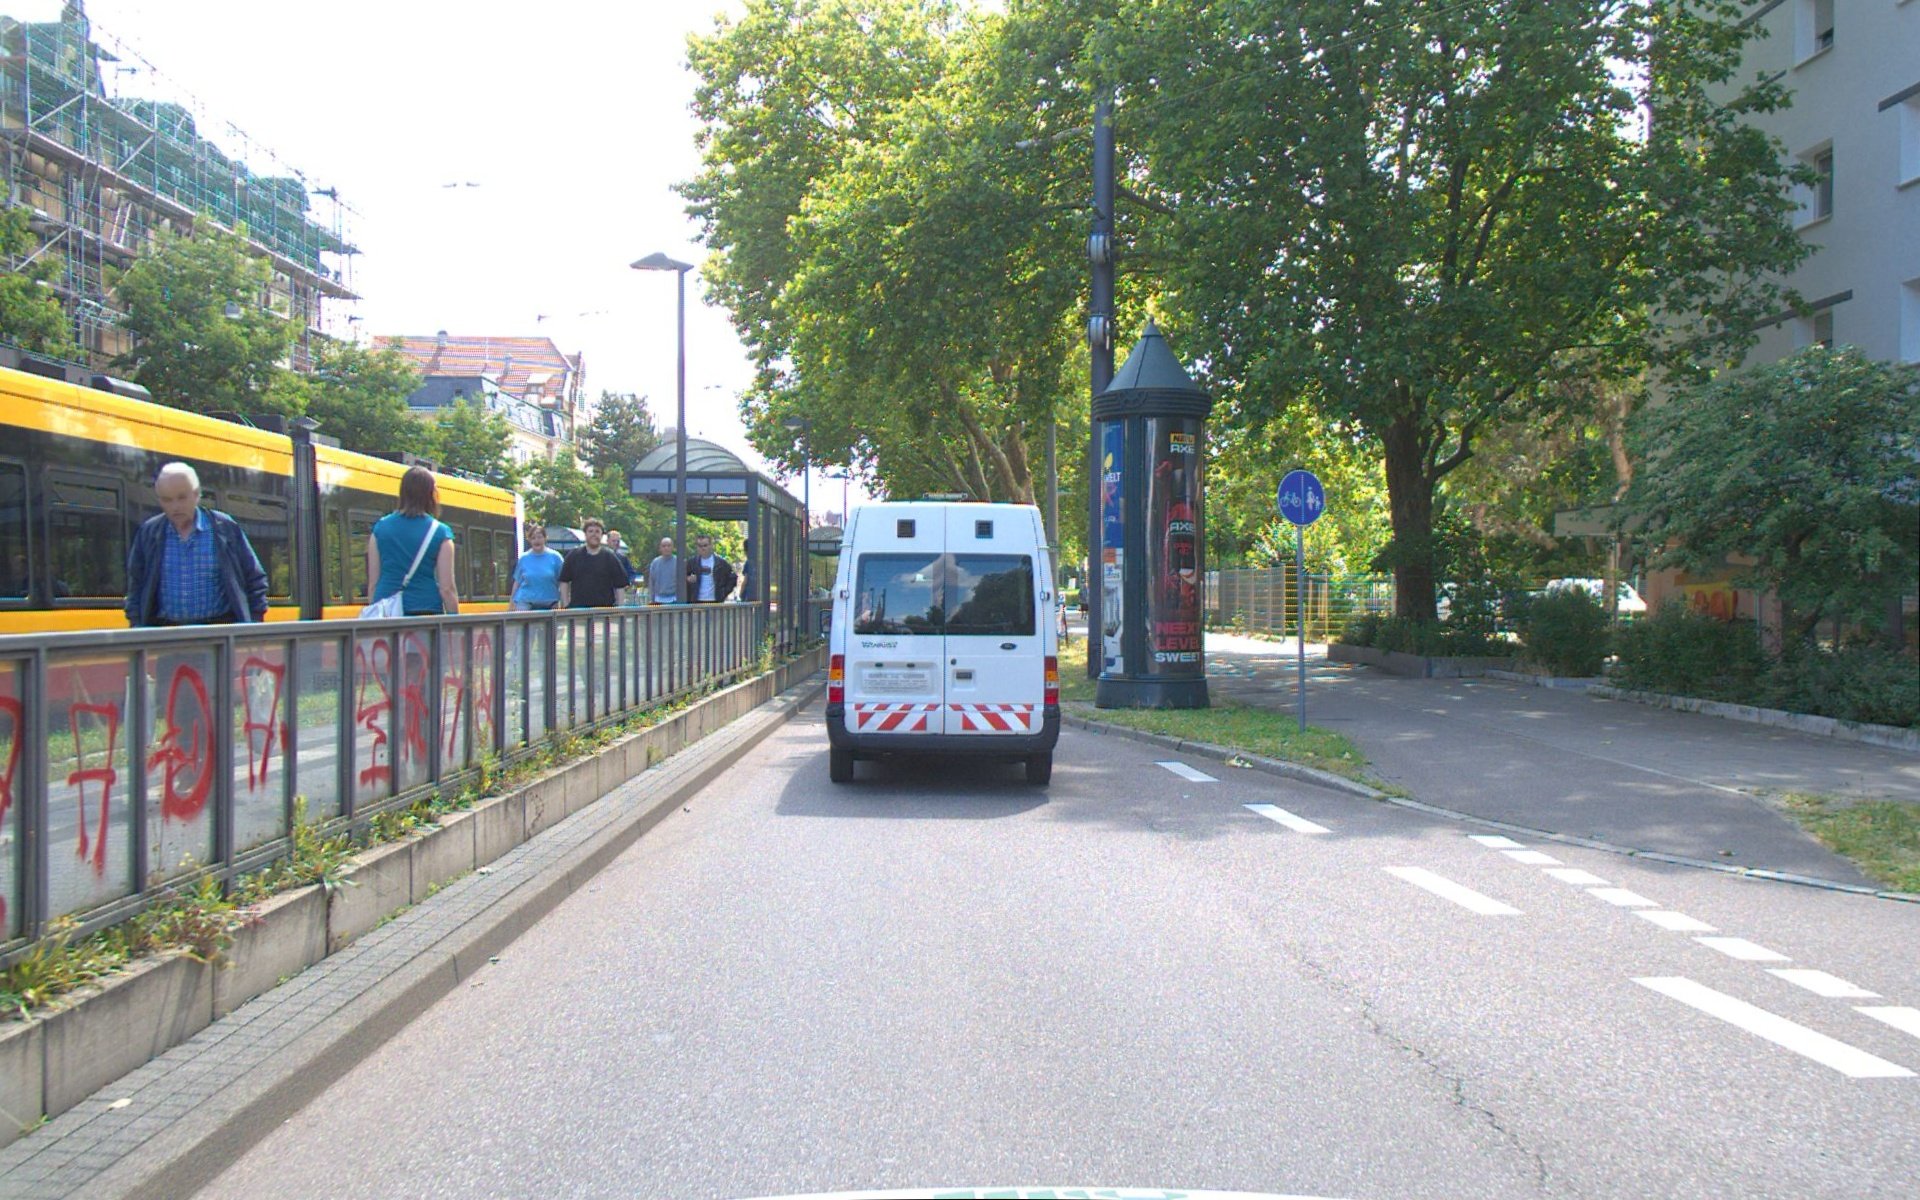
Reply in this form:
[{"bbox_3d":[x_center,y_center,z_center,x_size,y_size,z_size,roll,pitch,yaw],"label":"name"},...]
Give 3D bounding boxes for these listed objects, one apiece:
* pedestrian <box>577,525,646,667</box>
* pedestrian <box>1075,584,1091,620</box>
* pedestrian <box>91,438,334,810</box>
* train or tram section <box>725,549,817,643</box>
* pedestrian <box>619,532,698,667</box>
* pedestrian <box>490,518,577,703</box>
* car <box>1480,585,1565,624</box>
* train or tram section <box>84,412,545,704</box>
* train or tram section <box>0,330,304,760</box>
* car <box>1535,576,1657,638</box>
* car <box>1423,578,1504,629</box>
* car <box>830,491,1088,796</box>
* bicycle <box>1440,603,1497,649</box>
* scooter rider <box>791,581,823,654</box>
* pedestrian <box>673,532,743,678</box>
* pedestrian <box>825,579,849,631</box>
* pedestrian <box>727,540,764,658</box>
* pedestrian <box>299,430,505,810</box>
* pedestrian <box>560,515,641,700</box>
[{"bbox_3d":[-4.591,-0.057,21.866,0.697,1.832,1.132,0,0,-2],"label":"pedestrian"},{"bbox_3d":[5.726,0.075,76.810,0.679,1.654,0.637,0,0,-2],"label":"pedestrian"},{"bbox_3d":[-3.794,0.117,8.469,0.840,1.806,0.876,0,0,-1],"label":"pedestrian"},{"bbox_3d":[-7.969,-0.188,71.304,2.668,3.647,13.013,0,0,-1],"label":"train or tram section"},{"bbox_3d":[-4.221,-0.010,23.236,0.868,1.832,1.494,0,0,-2],"label":"pedestrian"},{"bbox_3d":[-4.443,0.102,17.280,0.687,1.882,0.907,0,0,-2],"label":"pedestrian"},{"bbox_3d":[21.070,0.162,62.110,1.770,1.427,4.046,0,0,-1],"label":"car"},{"bbox_3d":[-9.741,-0.557,27.290,2.668,3.647,13.013,0,0,-1],"label":"train or tram section"},{"bbox_3d":[-9.549,-0.481,15.567,2.739,3.647,10.402,0,0,-1],"label":"train or tram section"},{"bbox_3d":[19.269,0.192,50.334,1.702,1.786,4.769,0,0,-3],"label":"car"},{"bbox_3d":[18.801,0.121,61.893,1.770,1.846,4.339,0,0,1],"label":"car"},{"bbox_3d":[-0.048,0.318,15.289,2.005,2.374,4.713,0,0,-1],"label":"car"},{"bbox_3d":[12.440,0.627,40.502,0.594,1.092,1.835,0,0,-10],"label":"bicycle"},{"bbox_3d":[-3.399,0.381,36.693,0.641,1.598,0.901,0,0,-2],"label":"scooter rider"},{"bbox_3d":[-3.365,0.059,22.164,0.794,1.905,1.030,0,0,-2],"label":"pedestrian"},{"bbox_3d":[-3.619,0.142,48.796,0.662,1.542,0.596,0,0,-2],"label":"pedestrian"},{"bbox_3d":[-3.550,-0.019,27.368,0.464,1.933,0.533,0,0,-25],"label":"pedestrian"},{"bbox_3d":[-2.954,0.100,8.840,0.810,1.932,0.846,0,0,-1],"label":"pedestrian"},{"bbox_3d":[-3.742,0.073,17.262,0.687,1.882,0.789,0,0,-2],"label":"pedestrian"}]
